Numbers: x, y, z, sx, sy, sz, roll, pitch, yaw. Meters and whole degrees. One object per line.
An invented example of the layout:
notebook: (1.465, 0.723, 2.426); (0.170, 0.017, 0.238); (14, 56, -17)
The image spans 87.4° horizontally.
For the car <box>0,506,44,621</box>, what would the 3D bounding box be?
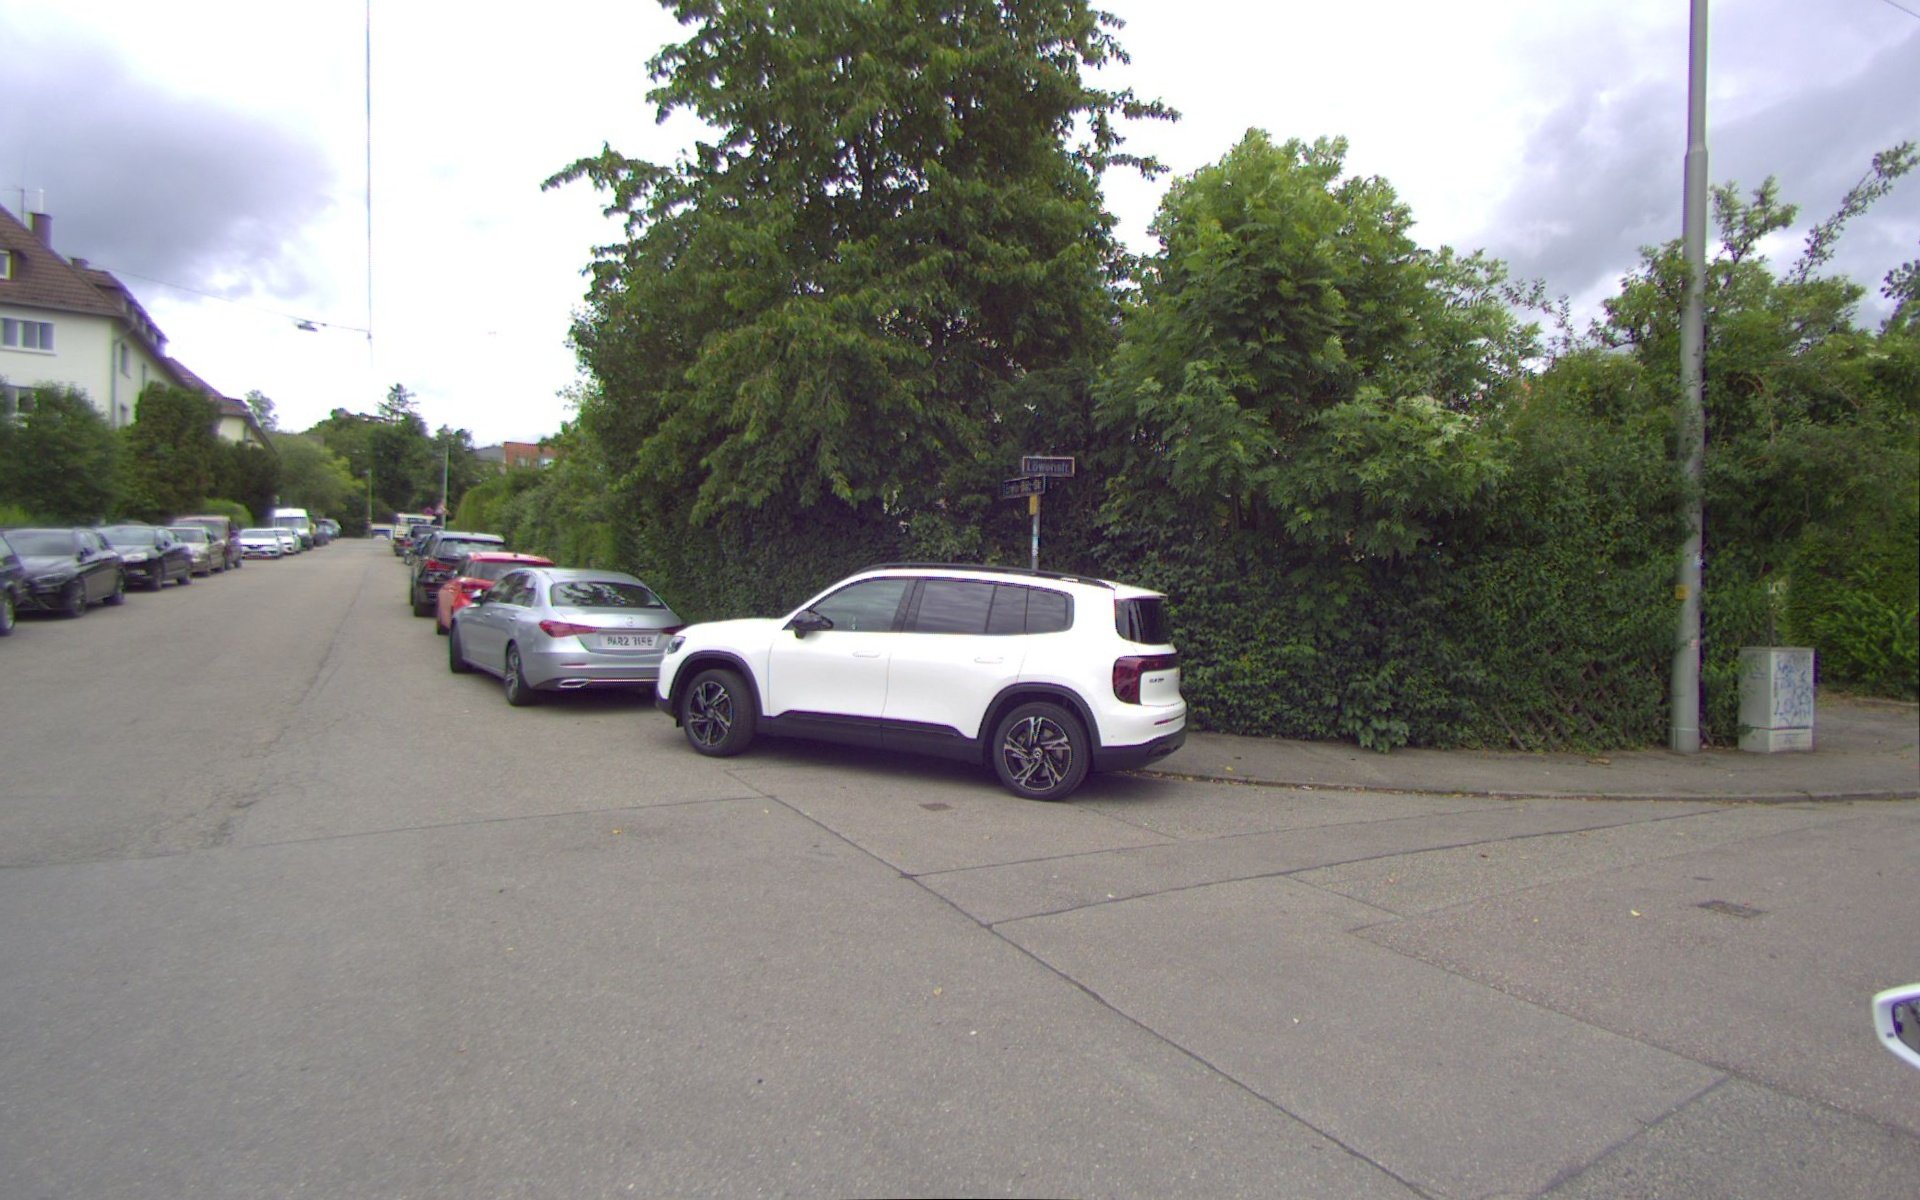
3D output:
car: (-13.394, -0.440, 12.514); (1.865, 1.503, 4.696); (0, 4, -29)

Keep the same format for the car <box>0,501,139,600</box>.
car: (-16.076, -0.940, 17.560); (1.866, 1.503, 4.695); (0, 5, -30)

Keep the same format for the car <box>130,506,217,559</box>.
car: (-22.961, -1.989, 29.438); (1.522, 1.407, 3.522); (1, 4, -30)

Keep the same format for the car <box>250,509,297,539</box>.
car: (-36.906, -4.116, 54.077); (1.771, 1.437, 4.199); (0, 5, -30)

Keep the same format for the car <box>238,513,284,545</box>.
car: (-33.310, -3.400, 47.946); (1.522, 1.407, 3.350); (1, 4, -30)

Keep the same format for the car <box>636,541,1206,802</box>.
car: (-0.325, 0.418, 8.495); (4.426, 1.678, 1.834); (3, 3, 21)

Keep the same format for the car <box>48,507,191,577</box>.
car: (-19.286, -1.394, 23.248); (1.771, 1.437, 4.255); (0, 5, -30)

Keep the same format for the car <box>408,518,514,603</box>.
car: (-10.680, -0.889, 21.353); (1.743, 1.571, 4.215); (1, 4, -30)

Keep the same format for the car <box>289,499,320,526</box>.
car: (-50.037, -6.714, 76.691); (1.747, 1.890, 3.966); (1, 4, -31)

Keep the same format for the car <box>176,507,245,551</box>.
car: (-25.808, -2.461, 34.664); (1.522, 1.407, 3.350); (1, 4, -30)

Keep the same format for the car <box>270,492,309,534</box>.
car: (-42.307, -5.482, 63.447); (1.955, 2.432, 4.650); (0, 4, -33)

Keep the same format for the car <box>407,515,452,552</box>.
car: (-23.767, -3.006, 44.918); (1.614, 1.486, 3.992); (1, 4, -30)

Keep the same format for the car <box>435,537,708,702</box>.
car: (-4.797, 0.078, 11.967); (1.818, 1.457, 4.464); (0, 5, -38)

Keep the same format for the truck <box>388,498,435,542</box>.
truck: (-33.193, -4.861, 60.849); (2.400, 2.389, 4.865); (1, 4, -28)

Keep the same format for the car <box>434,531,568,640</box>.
car: (-7.567, -0.305, 16.381); (1.614, 1.457, 3.756); (1, 5, -30)
